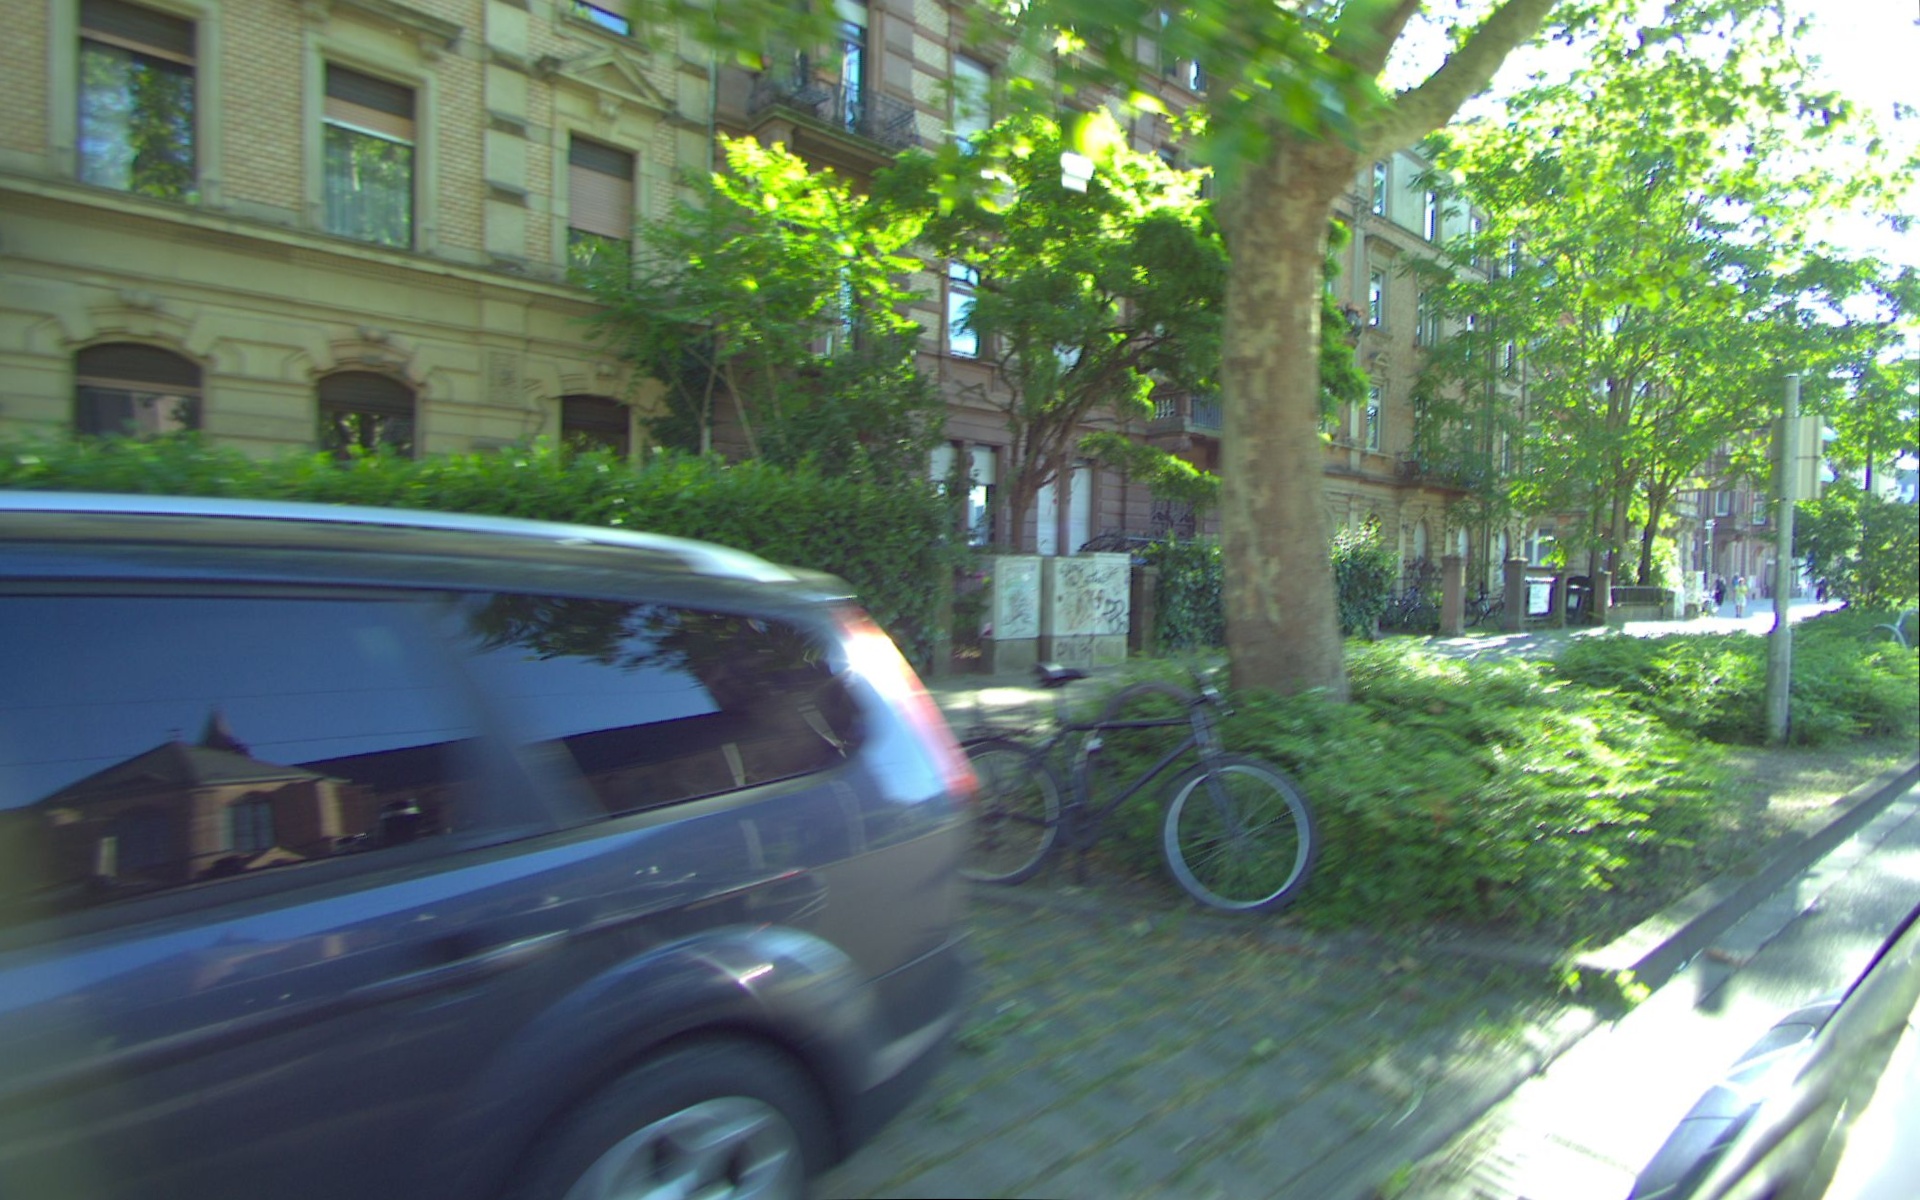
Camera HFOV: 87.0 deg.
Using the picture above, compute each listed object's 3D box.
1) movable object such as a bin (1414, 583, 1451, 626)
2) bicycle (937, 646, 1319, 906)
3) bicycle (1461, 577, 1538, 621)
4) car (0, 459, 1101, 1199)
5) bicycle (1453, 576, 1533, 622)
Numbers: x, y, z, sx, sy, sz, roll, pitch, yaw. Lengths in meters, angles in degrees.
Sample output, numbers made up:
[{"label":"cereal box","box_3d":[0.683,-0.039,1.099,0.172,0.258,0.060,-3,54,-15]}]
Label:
[{"label":"movable object such as a bin","box_3d":[10.361,0.095,22.202,0.600,0.910,0.708,0,0,38]},{"label":"bicycle","box_3d":[0.706,0.708,4.423,1.617,0.973,0.335,0,0,22]},{"label":"bicycle","box_3d":[13.963,-0.037,26.207,1.725,1.108,0.490,0,0,36]},{"label":"car","box_3d":[-2.004,0.565,1.397,4.640,1.534,1.680,-1,4,-41]},{"label":"bicycle","box_3d":[13.367,-0.026,25.397,1.725,1.108,0.490,0,0,36]}]
